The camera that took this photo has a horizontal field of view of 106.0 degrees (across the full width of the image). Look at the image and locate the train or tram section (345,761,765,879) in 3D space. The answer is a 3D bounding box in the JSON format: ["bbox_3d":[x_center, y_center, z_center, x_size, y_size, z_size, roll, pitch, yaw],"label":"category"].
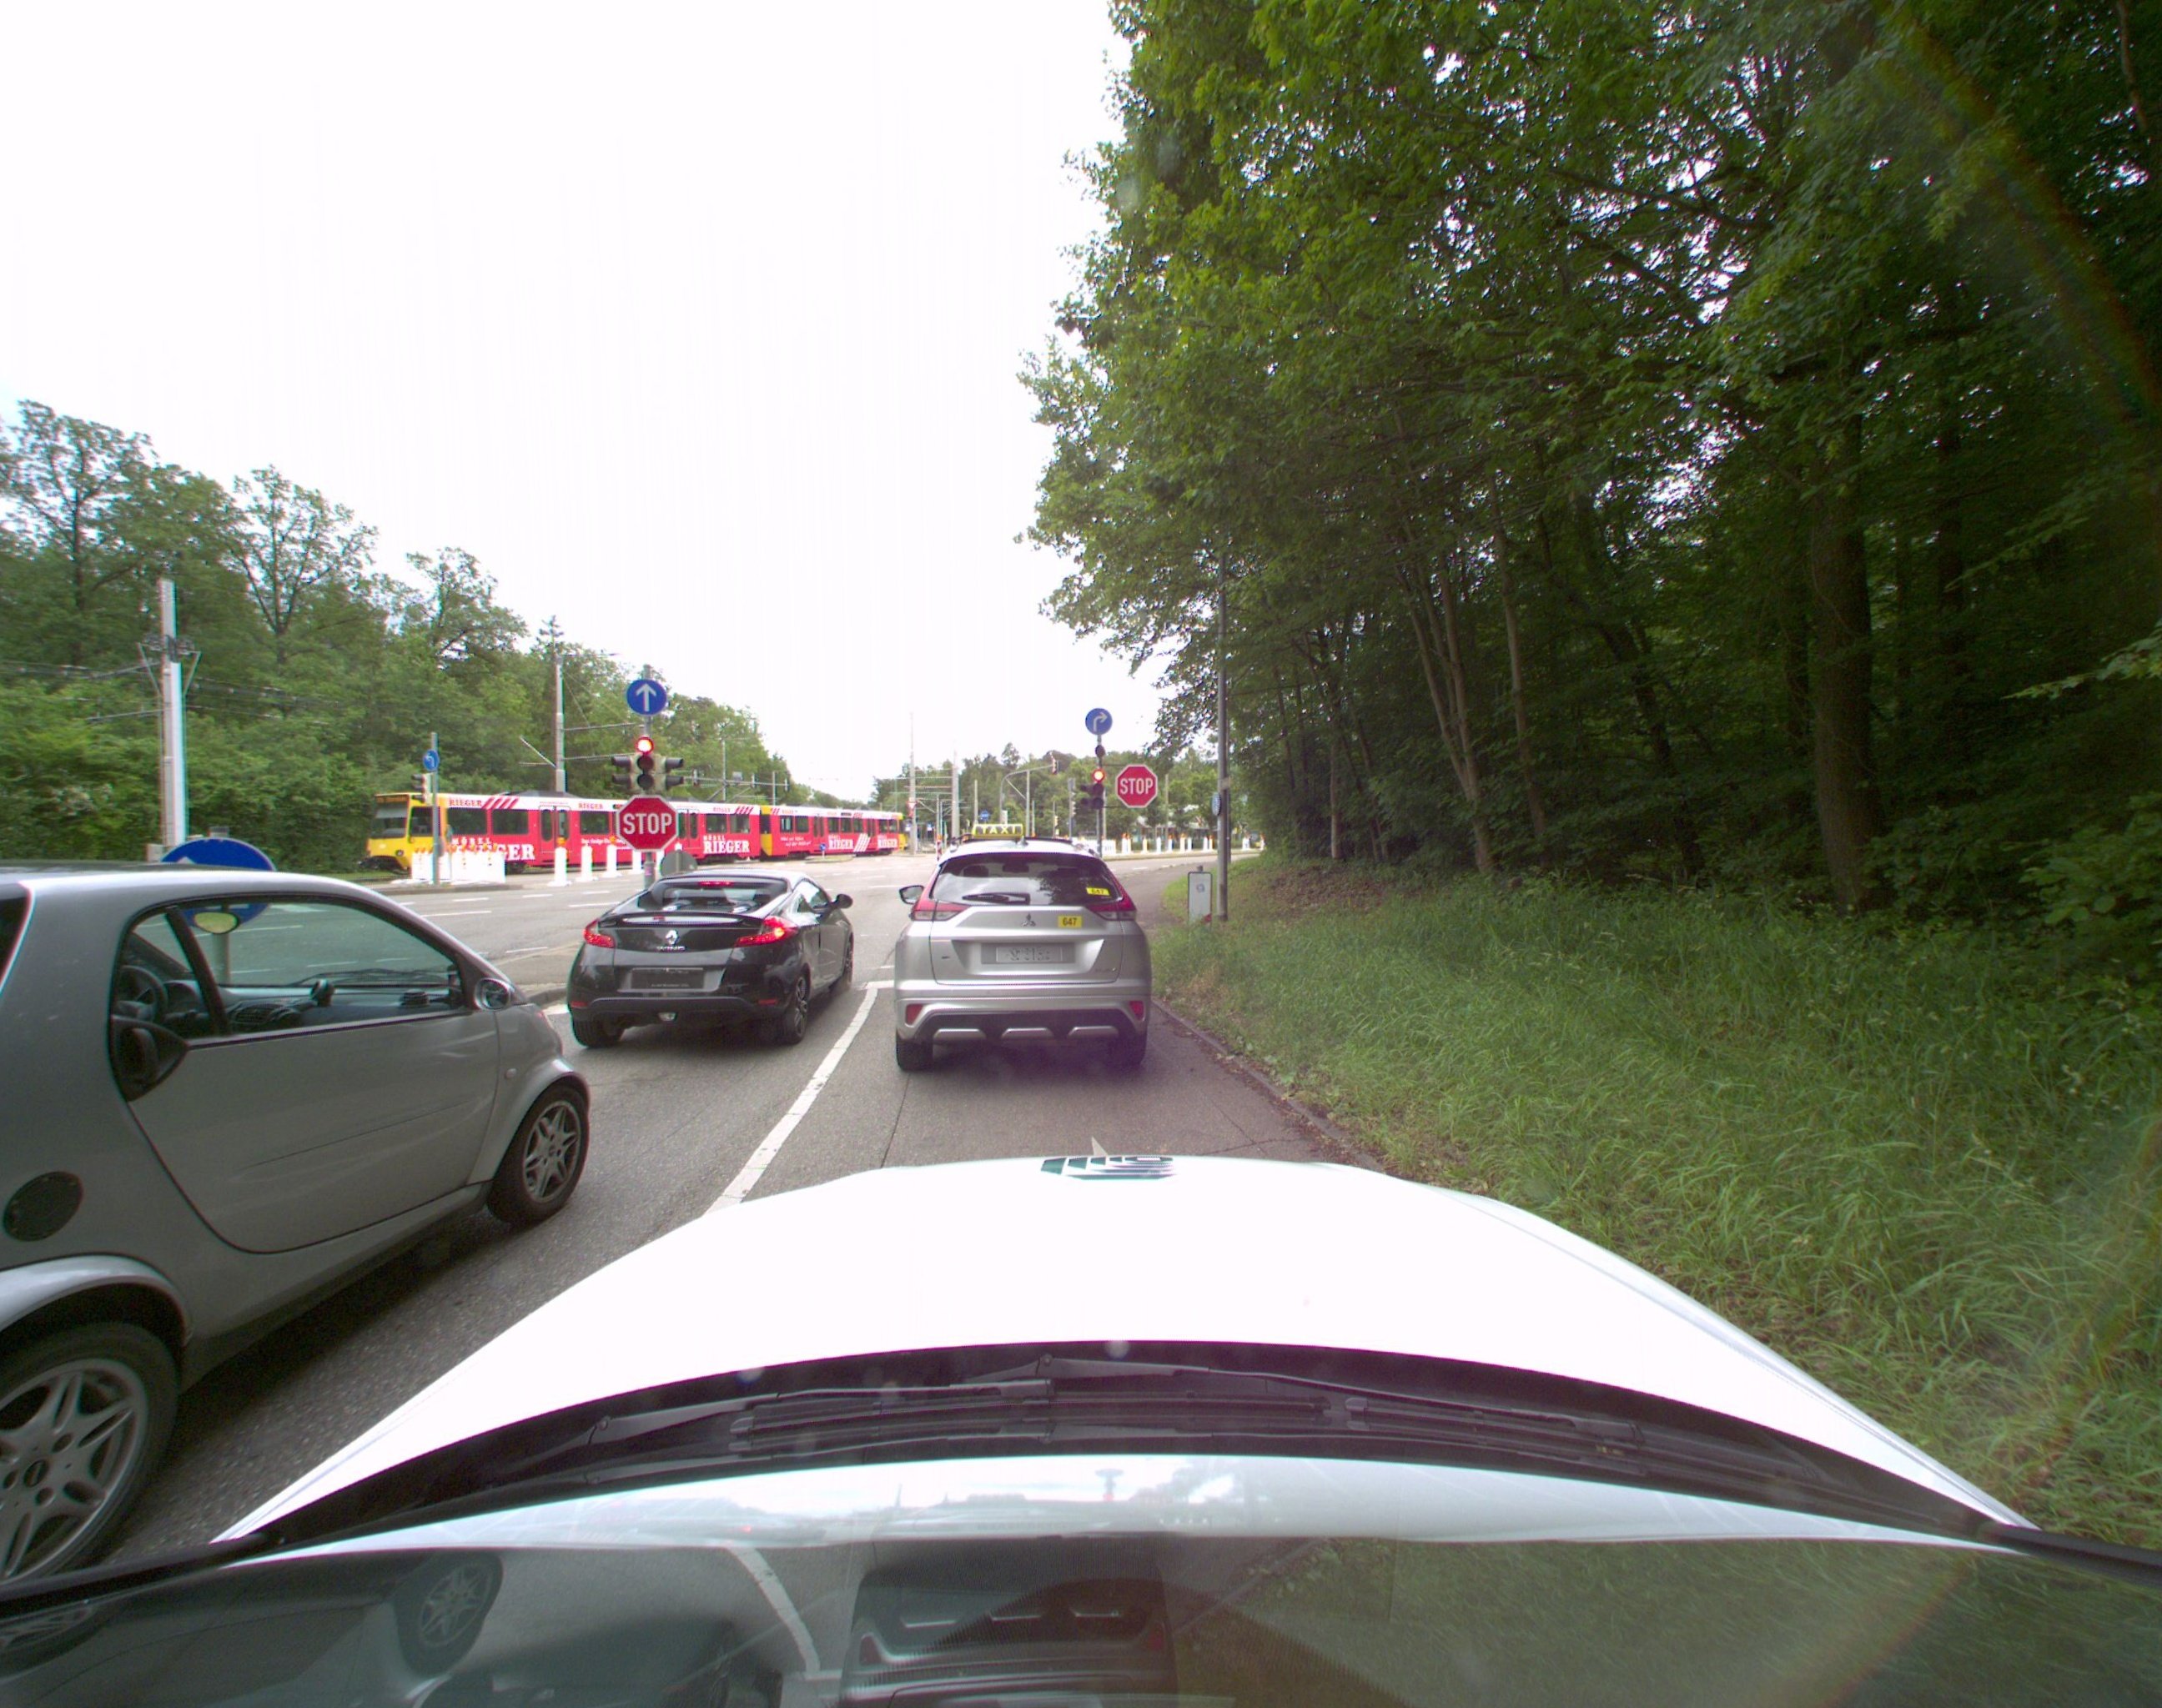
[{"bbox_3d":[-23.454,-1.210,39.596,2.930,4.418,18.829,-1,-1,22],"label":"train or tram section"}]

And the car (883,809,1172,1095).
[{"bbox_3d":[-0.525,0.589,6.955,1.772,1.748,3.772,1,1,-7],"label":"car"}]

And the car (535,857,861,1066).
[{"bbox_3d":[-3.185,0.761,7.574,1.773,1.361,3.466,-1,1,-9],"label":"car"}]

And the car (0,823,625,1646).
[{"bbox_3d":[-2.903,0.734,2.596,1.455,1.586,2.724,-1,1,-4],"label":"car"}]

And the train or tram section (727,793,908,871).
[{"bbox_3d":[-17.785,-1.259,57.972,2.926,4.650,18.612,-1,0,13],"label":"train or tram section"}]
